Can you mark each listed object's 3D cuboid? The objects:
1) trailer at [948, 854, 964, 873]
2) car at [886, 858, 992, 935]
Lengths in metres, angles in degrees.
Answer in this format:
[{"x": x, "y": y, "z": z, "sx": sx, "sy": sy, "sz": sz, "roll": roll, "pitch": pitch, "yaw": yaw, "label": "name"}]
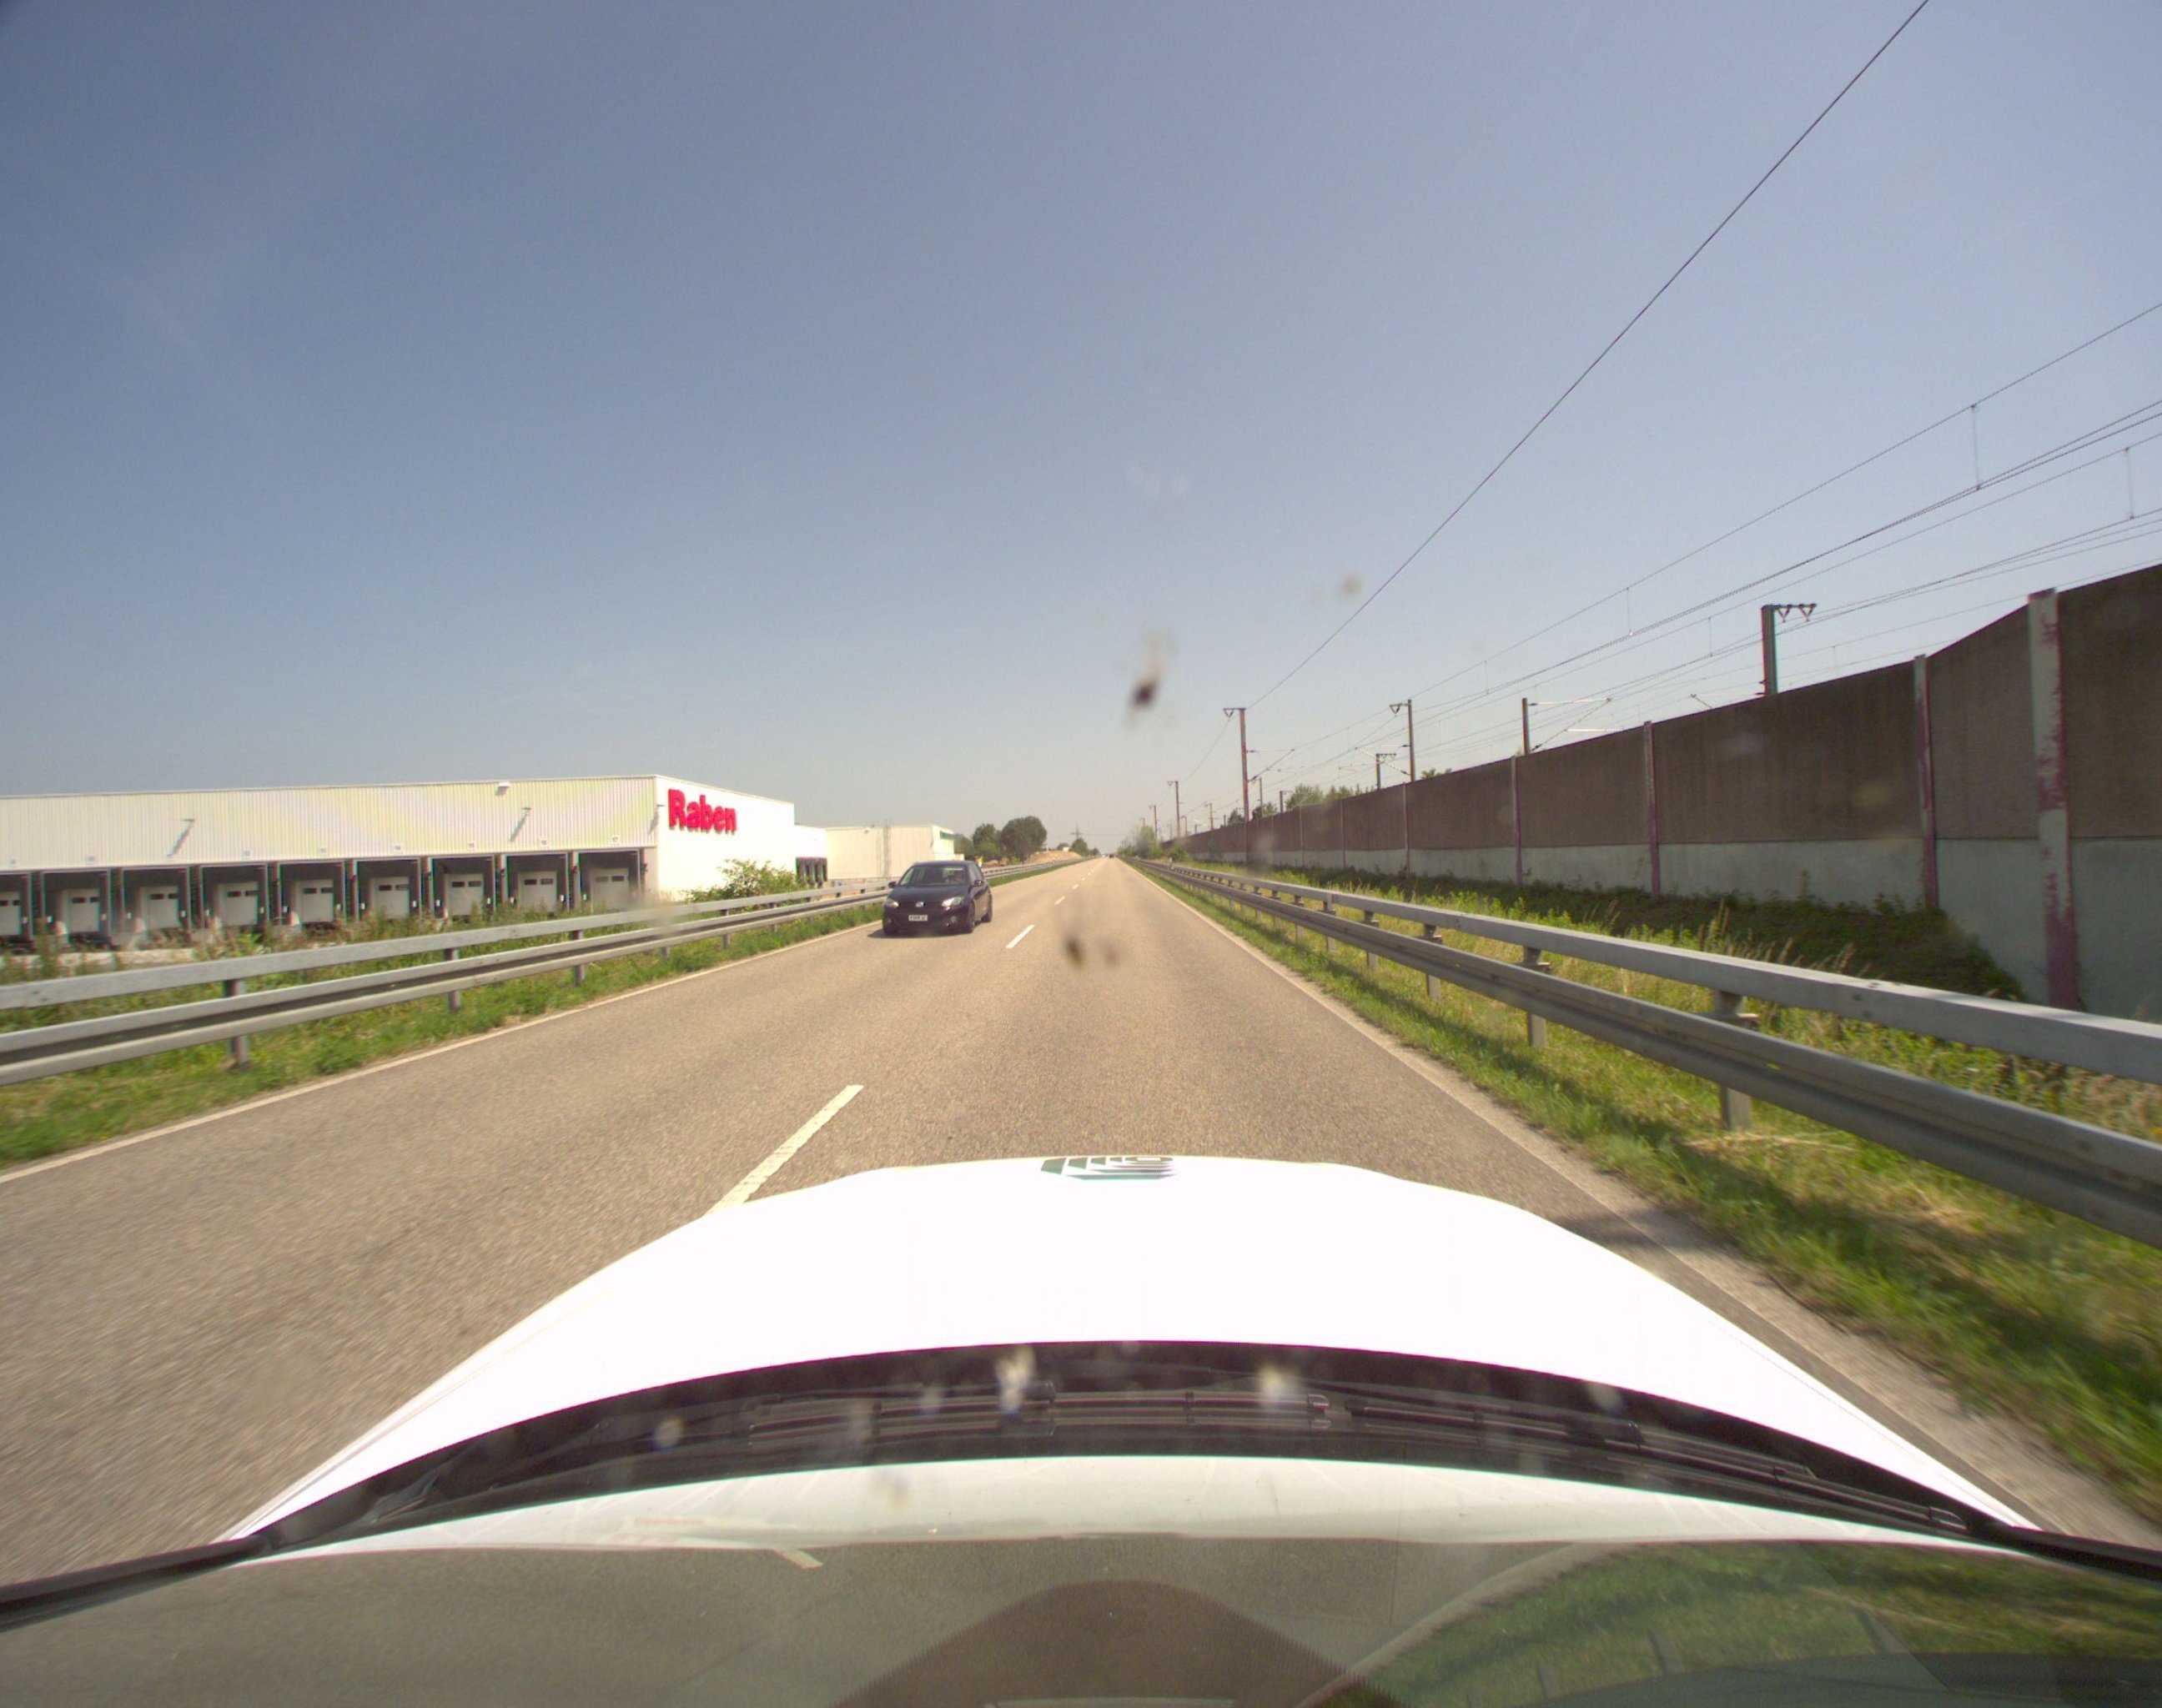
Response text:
[{"x": -29.277, "y": 2.112, "z": 191.428, "sx": 2.672, "sy": 4.332, "sz": 7.946, "roll": -1, "pitch": 0, "yaw": -2, "label": "trailer"}, {"x": -2.920, "y": 0.820, "z": 17.427, "sx": 1.534, "sy": 1.435, "sz": 3.656, "roll": -1, "pitch": 0, "yaw": 1, "label": "car"}]
